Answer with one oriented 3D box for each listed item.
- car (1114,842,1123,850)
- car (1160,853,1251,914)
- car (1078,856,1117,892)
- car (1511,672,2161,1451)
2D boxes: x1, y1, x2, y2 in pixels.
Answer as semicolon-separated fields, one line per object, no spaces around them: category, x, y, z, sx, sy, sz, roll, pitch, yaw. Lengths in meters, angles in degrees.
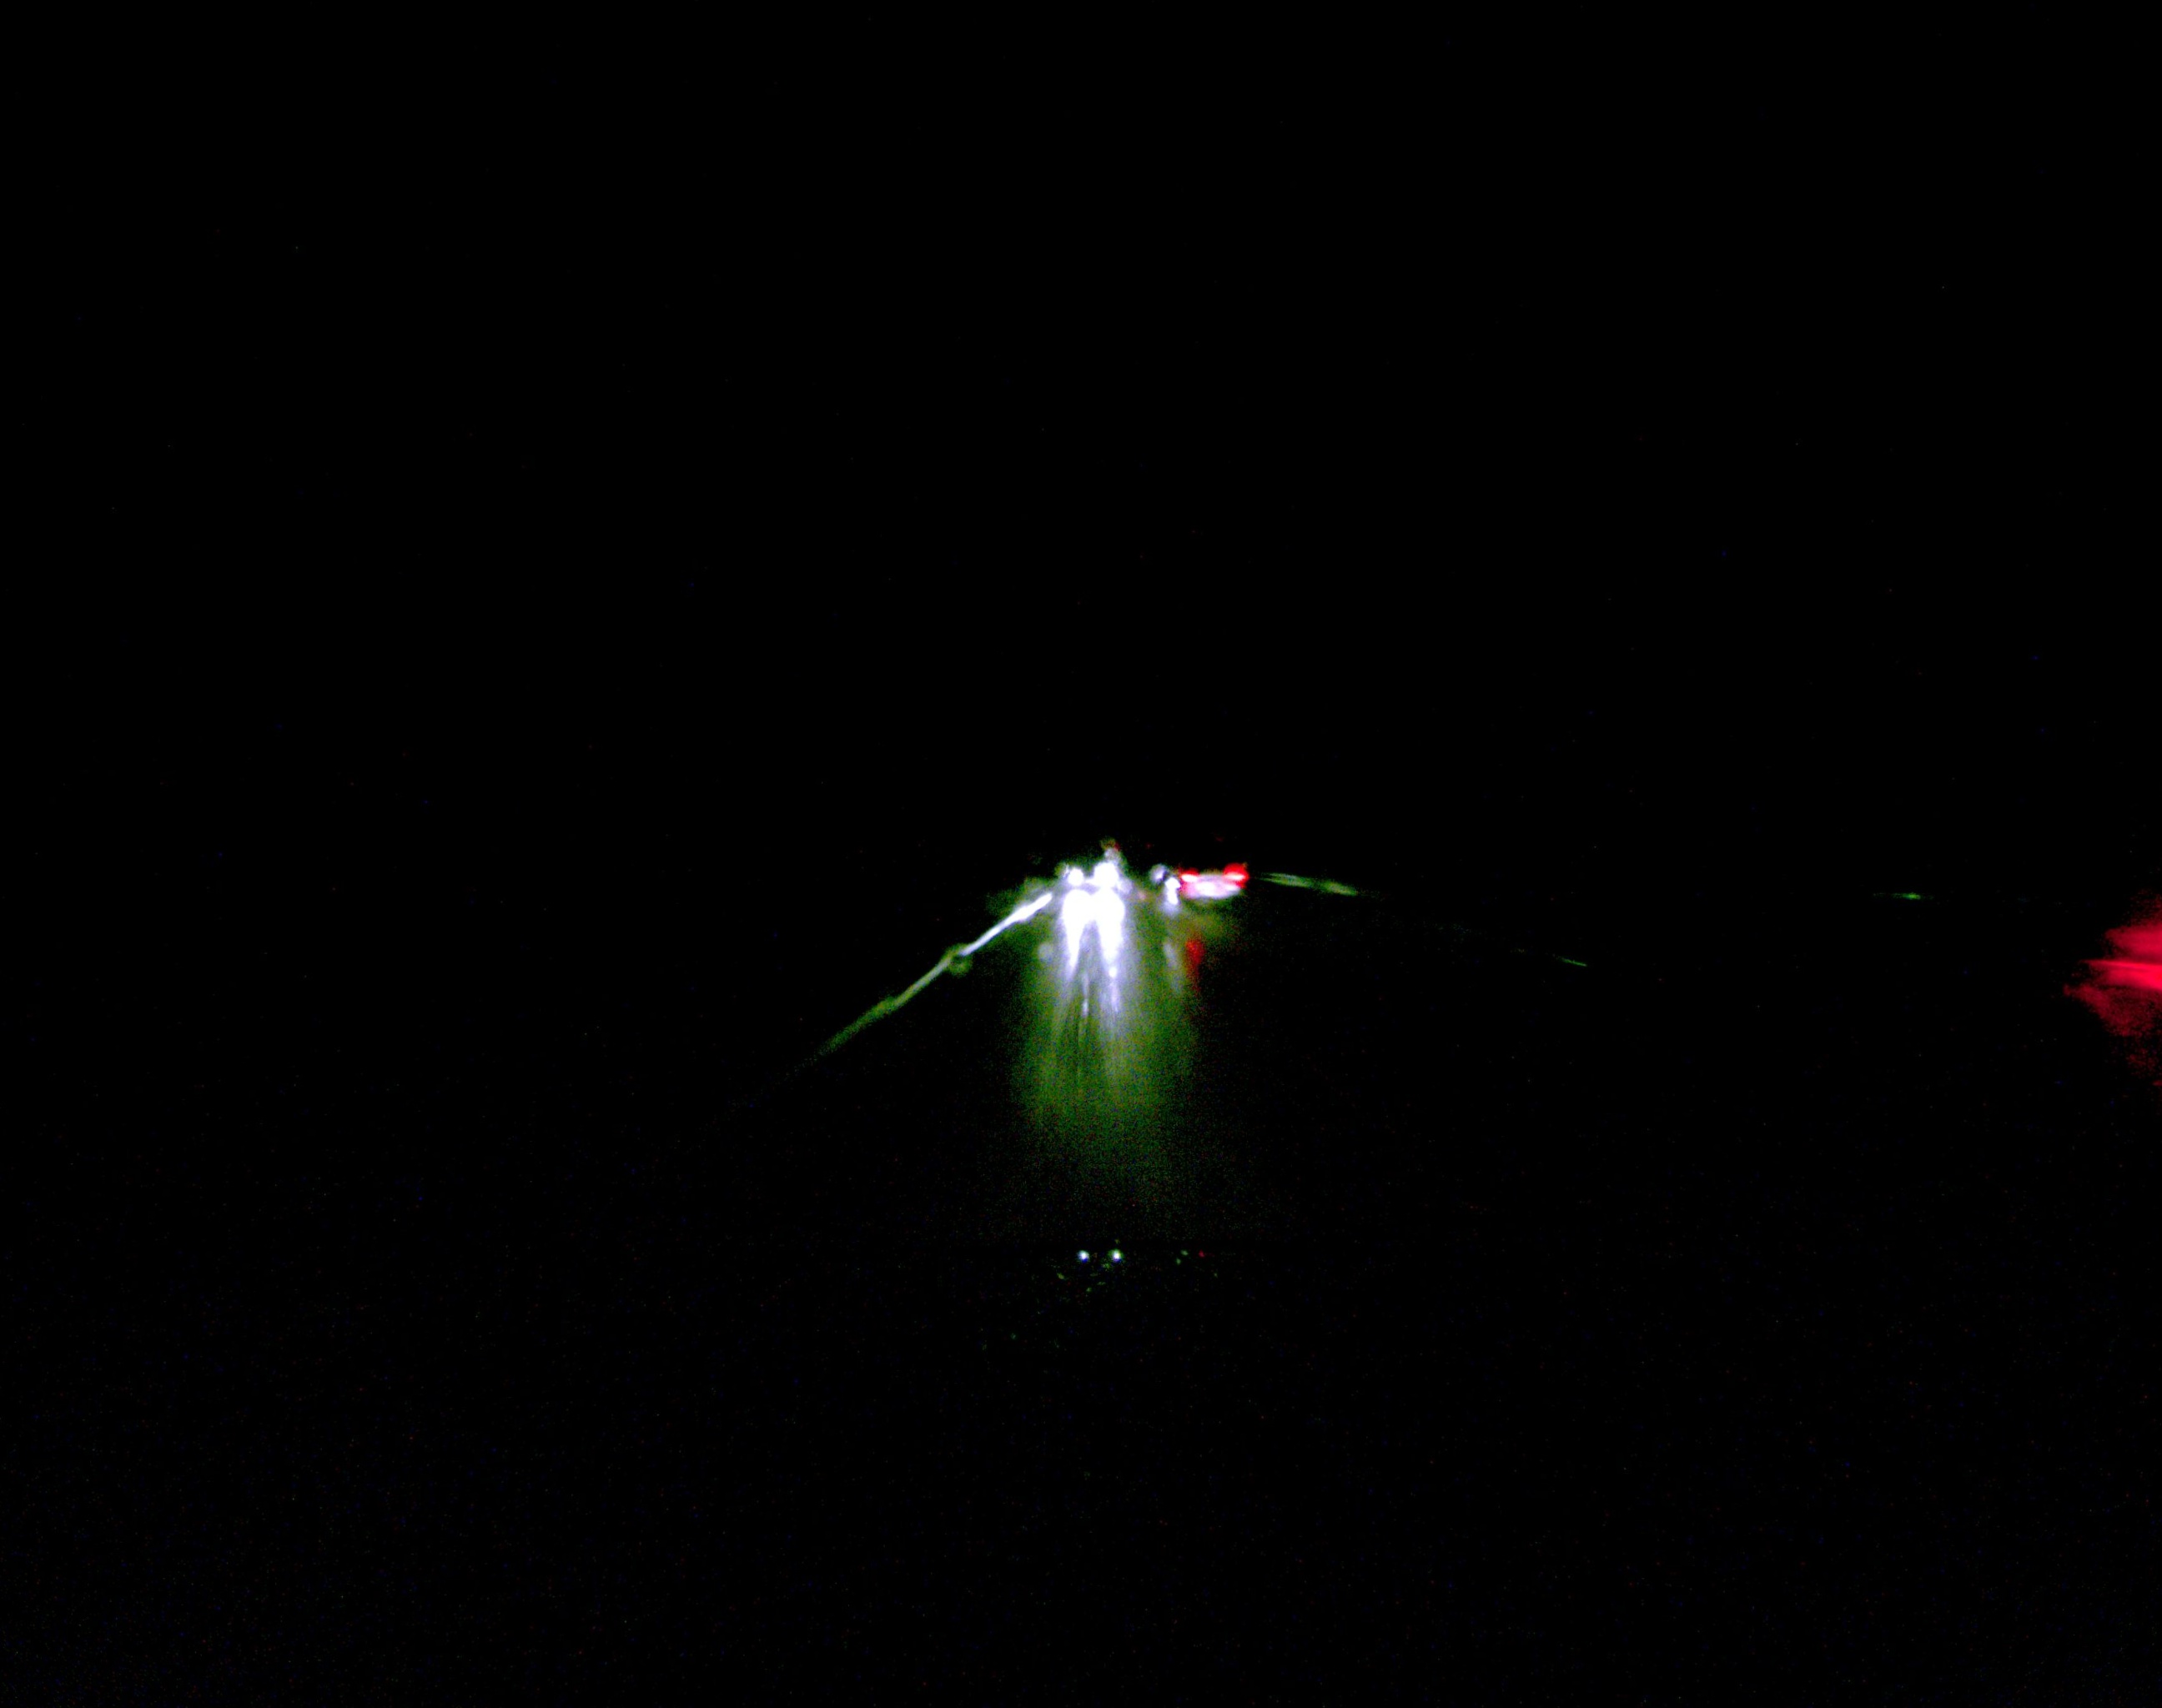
car;8.135;-1.738;166.050;1.744;1.632;3.599;-3;2;0
car;3.408;0.760;21.489;1.856;1.480;3.993;-3;0;0
car;0.766;0.945;37.437;1.745;1.502;3.599;-3;2;0
car;3.838;0.522;2.827;1.998;2.056;4.345;-2;0;0
